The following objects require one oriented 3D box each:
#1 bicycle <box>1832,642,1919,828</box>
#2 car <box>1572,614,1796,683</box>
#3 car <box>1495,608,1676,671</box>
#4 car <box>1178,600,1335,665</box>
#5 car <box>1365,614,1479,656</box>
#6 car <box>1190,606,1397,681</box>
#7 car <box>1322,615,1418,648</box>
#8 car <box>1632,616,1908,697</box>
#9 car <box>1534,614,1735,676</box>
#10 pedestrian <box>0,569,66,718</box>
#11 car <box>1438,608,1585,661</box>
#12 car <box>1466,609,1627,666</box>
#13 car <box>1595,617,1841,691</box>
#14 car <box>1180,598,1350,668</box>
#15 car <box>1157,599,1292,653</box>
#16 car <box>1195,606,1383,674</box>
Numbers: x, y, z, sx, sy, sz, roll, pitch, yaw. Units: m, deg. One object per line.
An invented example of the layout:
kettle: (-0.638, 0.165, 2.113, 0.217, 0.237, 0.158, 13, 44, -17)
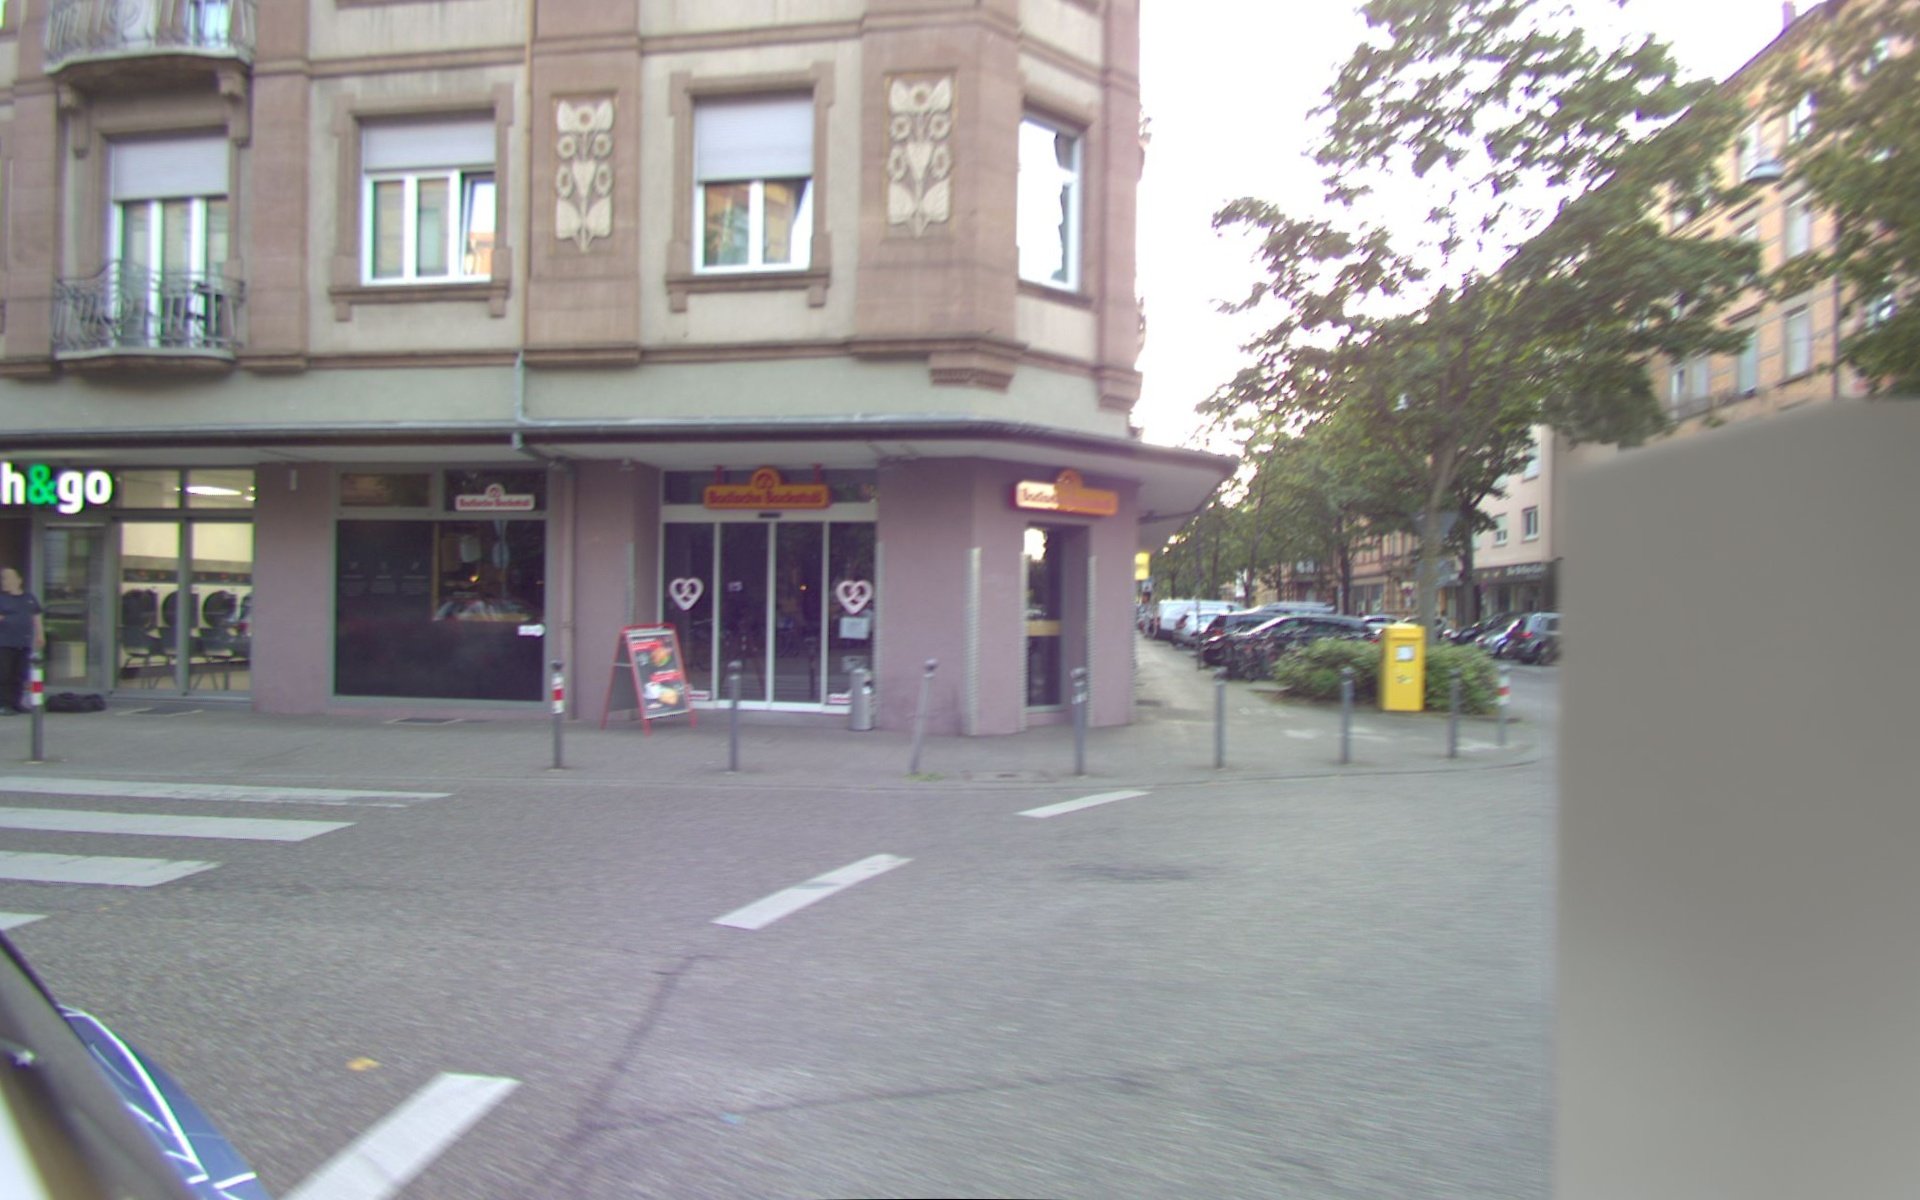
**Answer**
bicycle: (7.251, 0.921, 6.779, 1.919, 1.180, 0.836, 1, 1, 17)
car: (19.431, 1.260, 27.355, 4.443, 1.632, 1.996, 1, 1, 8)
car: (19.997, 1.227, 32.522, 4.443, 1.812, 1.996, 1, 1, 8)
car: (9.240, 0.977, 31.890, 4.443, 1.844, 1.996, 1, 1, 8)
car: (21.799, 1.631, 47.876, 4.443, 1.812, 1.996, 1, 1, 8)
car: (7.986, 1.017, 24.638, 4.443, 1.590, 1.996, 1, 1, 8)
car: (22.331, 1.686, 55.259, 4.443, 1.627, 1.996, 1, 1, 8)
car: (18.208, 1.228, 22.975, 4.443, 1.590, 1.996, 1, 1, 8)
car: (19.774, 1.294, 29.860, 4.443, 1.590, 1.996, 1, 1, 8)
pedestrian: (-11.146, 0.485, 11.871, 0.728, 1.690, 0.709, 1, 1, 12)
car: (20.966, 1.294, 38.638, 4.443, 1.812, 1.996, 1, 1, 8)
car: (20.673, 1.282, 35.861, 4.443, 1.812, 1.996, 1, 1, 8)
car: (18.774, 1.300, 25.281, 4.443, 1.590, 1.996, 1, 1, 8)
car: (8.841, 0.923, 29.660, 4.443, 1.844, 1.996, 1, 1, 8)
car: (10.520, 1.008, 40.594, 4.946, 1.966, 1.996, 1, 1, 8)
car: (8.680, 1.033, 27.075, 4.443, 1.590, 1.996, 1, 1, 8)
